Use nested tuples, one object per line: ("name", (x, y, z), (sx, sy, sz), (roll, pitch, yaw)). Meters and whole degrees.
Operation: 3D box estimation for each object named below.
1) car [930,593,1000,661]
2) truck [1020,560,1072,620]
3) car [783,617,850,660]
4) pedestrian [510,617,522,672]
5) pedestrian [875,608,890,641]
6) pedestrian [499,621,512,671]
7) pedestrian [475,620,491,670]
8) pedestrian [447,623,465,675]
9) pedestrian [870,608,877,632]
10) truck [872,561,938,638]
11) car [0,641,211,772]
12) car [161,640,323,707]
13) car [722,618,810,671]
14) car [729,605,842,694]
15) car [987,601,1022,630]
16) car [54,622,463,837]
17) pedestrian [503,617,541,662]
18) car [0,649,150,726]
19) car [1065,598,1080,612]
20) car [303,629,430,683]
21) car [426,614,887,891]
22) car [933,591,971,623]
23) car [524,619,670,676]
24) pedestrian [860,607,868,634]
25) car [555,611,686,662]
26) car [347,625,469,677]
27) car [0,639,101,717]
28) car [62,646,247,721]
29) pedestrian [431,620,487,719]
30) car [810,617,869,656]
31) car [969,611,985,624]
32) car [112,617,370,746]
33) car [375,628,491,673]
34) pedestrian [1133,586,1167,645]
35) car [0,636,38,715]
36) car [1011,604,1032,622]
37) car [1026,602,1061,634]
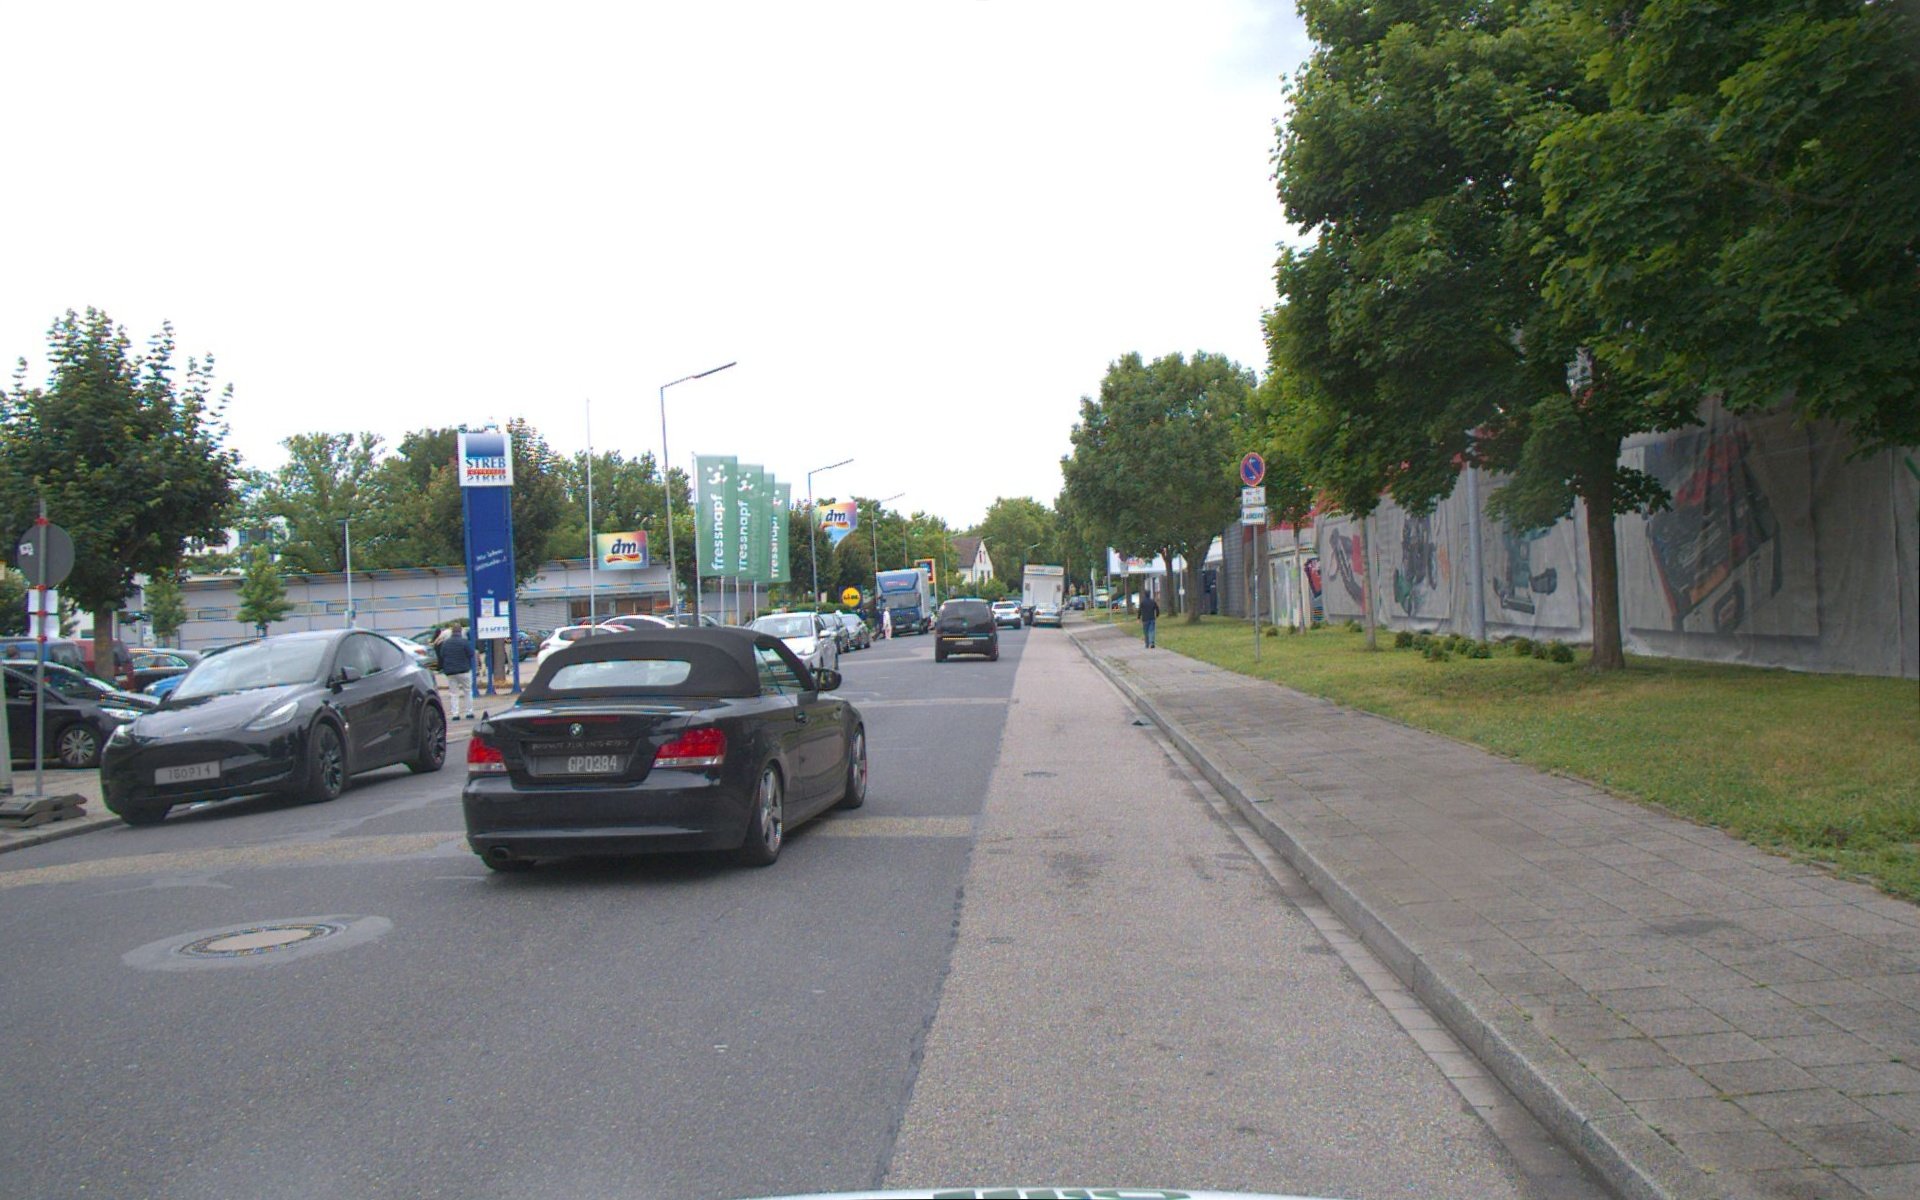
("car", (0.169, 0.698, 44.578), (1.646, 1.660, 3.760), (-3, 0, 3))
("truck", (5.561, -0.581, 108.508), (3.070, 3.647, 10.051), (-1, -1, 2))
("car", (-5.262, 1.389, 60.958), (1.858, 1.391, 4.001), (-3, 0, 3))
("pedestrian", (-14.333, 1.445, 53.389), (0.258, 1.760, 0.421), (-3, 0, -9))
("pedestrian", (-3.910, 1.235, 83.435), (0.618, 1.665, 0.668), (-3, 0, 2))
("pedestrian", (-14.756, 1.482, 53.731), (0.324, 1.597, 0.503), (-1, 0, -9))
("pedestrian", (-15.441, 1.458, 53.549), (0.352, 1.597, 0.503), (-3, 0, -8))
("pedestrian", (-16.311, 1.580, 53.537), (0.447, 1.670, 0.373), (-3, 0, -15))
("pedestrian", (-5.666, 1.289, 108.683), (0.394, 1.558, 0.485), (-3, 0, -3))
("truck", (-3.086, -0.022, 94.441), (2.912, 4.024, 6.407), (-4, 0, 3))
("car", (-12.747, 1.468, 22.930), (3.792, 1.649, 1.928), (-2, 0, 3))
("car", (-21.255, 2.154, 49.048), (3.904, 1.698, 1.877), (-3, 0, 3))
("car", (-5.700, 1.288, 49.022), (1.858, 1.391, 4.001), (-3, 0, 3))
("car", (-3.405, 0.945, 32.772), (1.566, 1.554, 3.529), (-4, -1, 3))
("car", (2.528, 0.828, 92.953), (1.847, 1.558, 4.256), (-1, 0, 3))
("car", (-6.625, 1.132, 16.247), (1.908, 1.552, 4.403), (-7, 0, 1))
("pedestrian", (-21.210, 1.913, 80.121), (1.373, 2.048, 1.195), (-3, 0, -37))
("car", (-22.839, 2.210, 41.651), (3.904, 1.698, 1.877), (-3, 0, 3))
("car", (14.248, 0.640, 209.213), (1.847, 1.713, 4.256), (-1, 0, 3))
("car", (-21.751, 2.040, 60.700), (3.904, 1.698, 1.877), (-3, 0, 3))
("car", (-1.699, 0.823, 10.723), (1.708, 1.382, 4.141), (-3, -1, 7))
("car", (-0.406, 0.389, 92.840), (1.952, 1.713, 4.000), (-1, -1, 1))
("car", (-11.227, 1.448, 51.415), (4.121, 1.489, 1.951), (-3, 0, -5))
("pedestrian", (-5.723, 1.220, 98.896), (0.394, 1.558, 0.485), (-3, 0, -3))
("car", (-11.536, 1.229, 56.351), (4.053, 1.489, 1.897), (-3, 0, -3))
("car", (-20.993, 1.920, 62.974), (3.904, 1.698, 1.877), (-3, 0, 3))
("car", (-22.851, 1.905, 39.221), (3.904, 1.698, 1.877), (-3, 0, 3))
("car", (-21.291, 2.196, 43.820), (3.904, 1.698, 1.877), (-3, 0, 3))
("pedestrian", (-9.112, 1.258, 30.113), (0.759, 1.745, 0.696), (-2, -1, -2))
("car", (-4.832, 1.453, 66.847), (1.858, 1.391, 4.001), (-3, 0, 3))
("car", (1.792, 1.846, 177.015), (1.509, 1.389, 3.429), (-1, -1, 3))
("car", (-13.085, 1.449, 30.274), (3.853, 2.048, 1.759), (-3, 0, -4))
("car", (-20.871, 1.992, 65.574), (3.904, 1.518, 1.787), (-3, 0, 3))
("pedestrian", (5.506, 0.457, 47.971), (0.899, 1.663, 0.853), (-1, -1, 5))
("car", (-23.013, 1.788, 36.774), (3.904, 1.698, 1.877), (-3, 0, 3))
("car", (5.748, 1.204, 155.268), (1.847, 1.558, 4.256), (-1, 0, 3))
("car", (4.974, 1.075, 99.304), (1.952, 1.837, 4.000), (-1, -1, 1))
